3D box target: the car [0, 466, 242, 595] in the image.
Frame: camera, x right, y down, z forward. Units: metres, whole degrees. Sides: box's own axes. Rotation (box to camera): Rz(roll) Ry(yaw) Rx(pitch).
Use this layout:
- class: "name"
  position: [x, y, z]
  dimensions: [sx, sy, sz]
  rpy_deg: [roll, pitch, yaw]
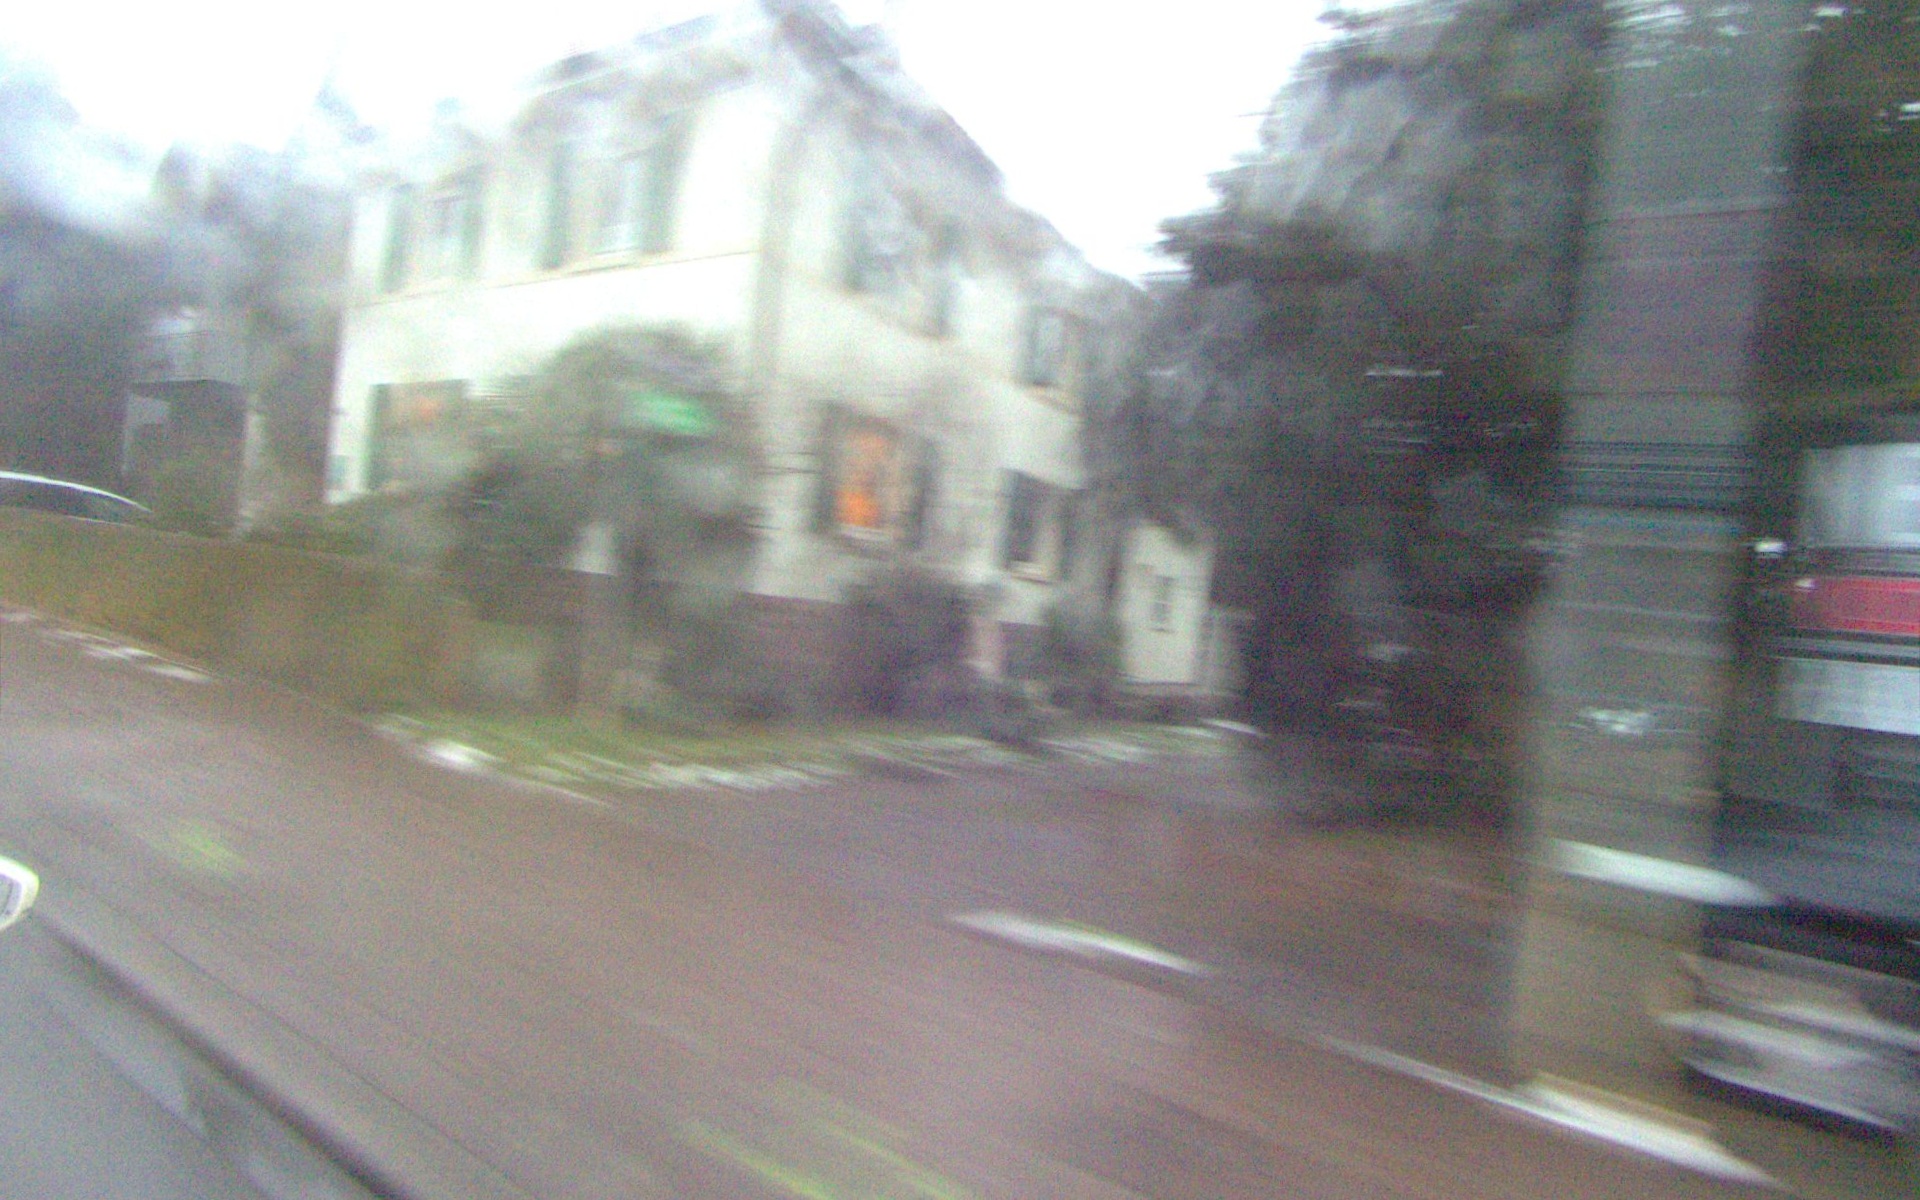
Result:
- class: "car"
  position: [-14.330, -1.131, 15.935]
  dimensions: [1.966, 1.755, 4.325]
  rpy_deg: [6, 1, 31]

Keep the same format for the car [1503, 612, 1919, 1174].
- class: "car"
  position: [4.476, 1.114, 3.117]
  dimensions: [4.678, 1.573, 1.895]
  rpy_deg: [6, -1, 33]
